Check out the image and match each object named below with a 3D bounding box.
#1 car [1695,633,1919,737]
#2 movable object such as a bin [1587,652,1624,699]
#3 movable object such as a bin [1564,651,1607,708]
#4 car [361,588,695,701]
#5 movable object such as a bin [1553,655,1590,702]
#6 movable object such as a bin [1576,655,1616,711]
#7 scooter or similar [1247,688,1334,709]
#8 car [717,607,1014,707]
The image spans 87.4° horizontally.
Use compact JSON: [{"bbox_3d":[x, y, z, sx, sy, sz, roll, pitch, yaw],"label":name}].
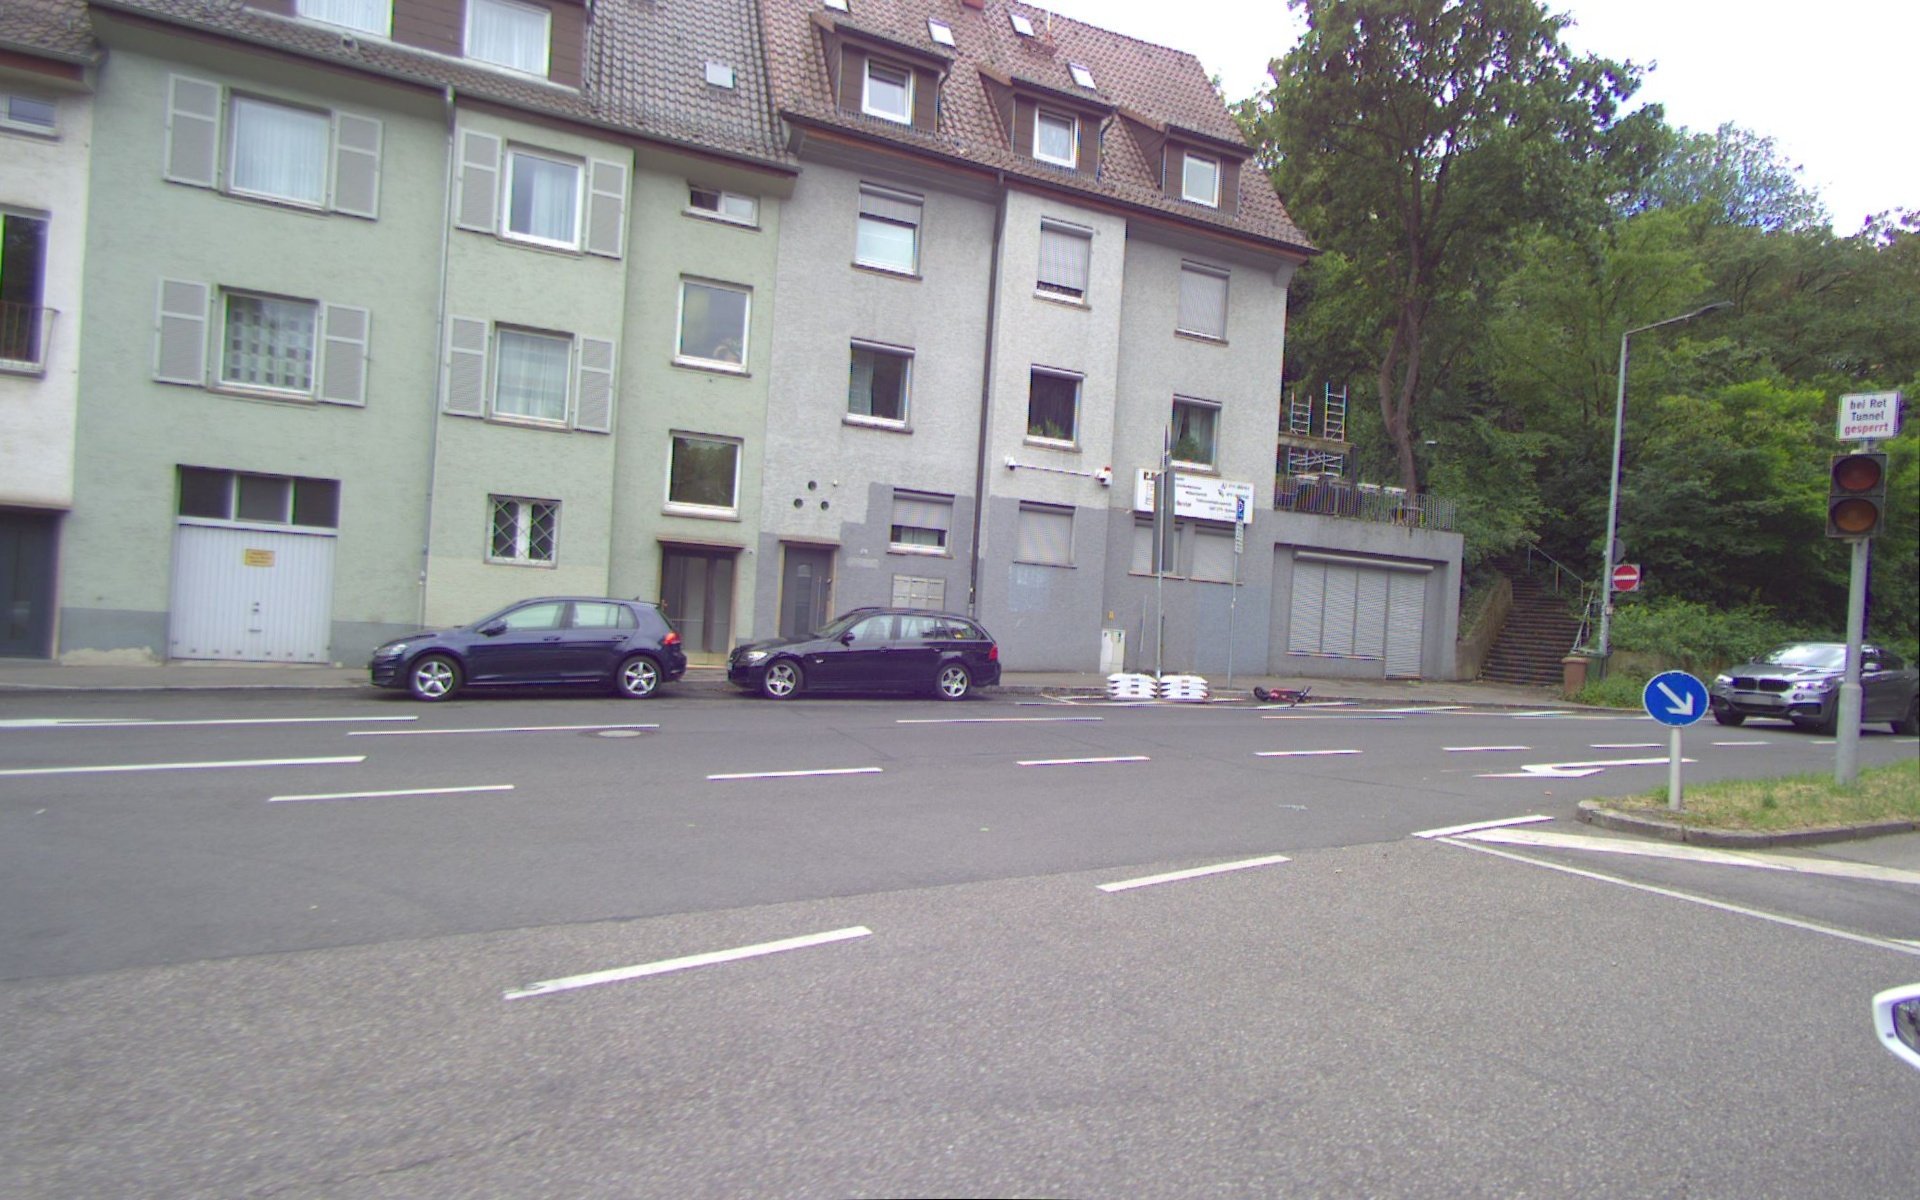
[{"bbox_3d":[16.517,1.619,19.243,4.872,1.721,1.863,3,-1,-26],"label":"car"},{"bbox_3d":[15.393,1.792,23.958,0.427,1.038,0.551,2,3,-37],"label":"movable object such as a bin"},{"bbox_3d":[14.141,1.781,22.718,0.488,1.201,0.600,2,3,-37],"label":"movable object such as a bin"},{"bbox_3d":[-6.167,0.637,14.618,4.157,1.442,1.987,2,0,-26],"label":"car"},{"bbox_3d":[13.665,1.737,22.443,0.440,0.980,0.512,2,3,-37],"label":"movable object such as a bin"},{"bbox_3d":[14.583,1.893,23.030,0.427,1.201,0.576,2,3,-37],"label":"movable object such as a bin"},{"bbox_3d":[6.155,1.826,18.713,1.089,0.292,1.115,3,-2,-37],"label":"scooter or similar"},{"bbox_3d":[-1.555,0.892,16.432,4.452,1.419,1.989,1,0,-22],"label":"car"}]
